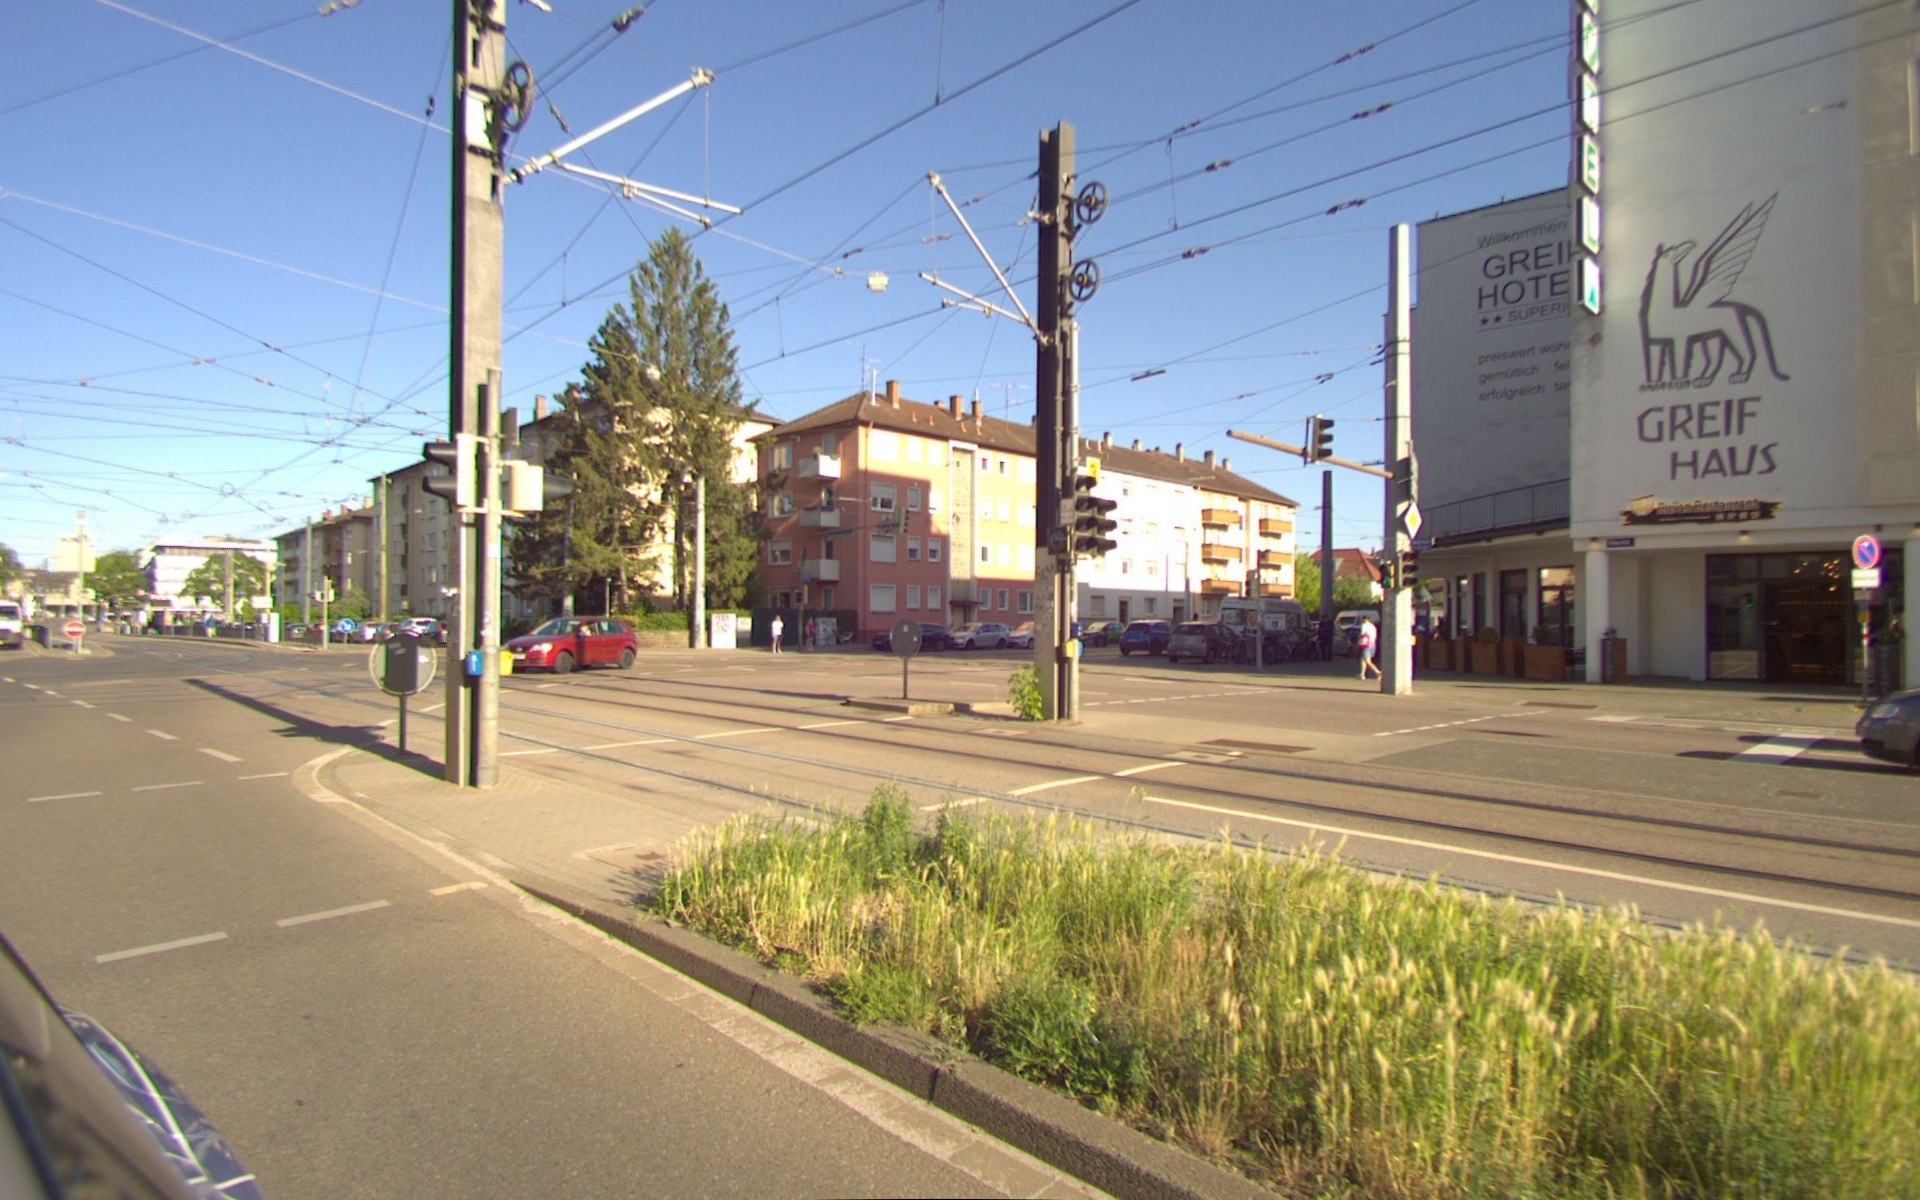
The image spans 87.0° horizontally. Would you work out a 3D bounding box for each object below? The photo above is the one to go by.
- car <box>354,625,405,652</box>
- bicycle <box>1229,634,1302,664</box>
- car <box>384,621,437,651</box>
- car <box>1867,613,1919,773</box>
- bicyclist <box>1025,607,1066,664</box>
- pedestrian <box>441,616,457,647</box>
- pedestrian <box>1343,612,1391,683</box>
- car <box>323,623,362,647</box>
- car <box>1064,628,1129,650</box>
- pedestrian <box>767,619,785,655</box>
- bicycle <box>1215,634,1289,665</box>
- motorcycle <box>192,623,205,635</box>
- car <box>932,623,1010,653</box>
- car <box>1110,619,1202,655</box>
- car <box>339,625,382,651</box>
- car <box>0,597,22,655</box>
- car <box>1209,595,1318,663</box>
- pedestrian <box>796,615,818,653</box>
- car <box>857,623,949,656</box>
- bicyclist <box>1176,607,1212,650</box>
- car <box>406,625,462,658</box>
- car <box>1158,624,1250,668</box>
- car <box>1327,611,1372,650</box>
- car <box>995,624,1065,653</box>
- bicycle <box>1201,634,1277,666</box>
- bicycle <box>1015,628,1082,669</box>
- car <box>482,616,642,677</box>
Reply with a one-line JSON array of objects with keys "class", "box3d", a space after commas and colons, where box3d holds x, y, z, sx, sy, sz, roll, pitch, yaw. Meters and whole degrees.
[{"class": "car", "box3d": [-37.589, 2.468, 65.475, 4.034, 1.489, 1.808, 2, 0, 44]}, {"class": "bicycle", "box3d": [10.574, 1.697, 35.055, 2.258, 1.009, 0.844, -3, -3, 42]}, {"class": "car", "box3d": [-33.467, 2.190, 61.572, 1.747, 1.610, 4.036, 2, 0, -44]}, {"class": "car", "box3d": [11.341, 0.936, 9.196, 1.907, 1.560, 4.458, 2, -2, -42]}, {"class": "bicyclist", "box3d": [2.634, 1.103, 31.213, 0.920, 1.704, 0.815, 2, 0, -39]}, {"class": "pedestrian", "box3d": [-32.073, 1.980, 63.497, 0.689, 1.900, 0.782, 2, 0, -42]}, {"class": "pedestrian", "box3d": [10.403, 1.204, 25.871, 0.910, 1.759, 0.726, 2, 0, 44]}, {"class": "car", "box3d": [-44.366, 2.516, 72.727, 1.537, 1.537, 3.648, 2, 0, -45]}, {"class": "car", "box3d": [8.569, 2.453, 63.378, 1.953, 1.248, 4.222, 2, 0, 42]}, {"class": "pedestrian", "box3d": [-8.272, 1.664, 45.494, 0.518, 1.580, 0.565, 1, -1, 44]}, {"class": "bicycle", "box3d": [9.862, 1.666, 34.204, 2.258, 1.009, 0.844, -3, -3, 42]}, {"class": "motorcycle", "box3d": [-75.956, 2.898, 100.878, 0.844, 1.054, 1.945, 2, 0, -42]}, {"class": "car", "box3d": [0.631, 2.052, 54.827, 1.911, 1.447, 4.042, 2, 0, 45]}, {"class": "car", "box3d": [8.319, 1.568, 42.958, 3.600, 1.463, 1.747, 2, -1, -31]}, {"class": "car", "box3d": [-41.203, 2.578, 69.572, 1.637, 1.569, 3.791, 2, 0, -45]}, {"class": "car", "box3d": [-45.335, 1.140, 47.104, 2.306, 2.536, 4.861, 2, 0, -42]}, {"class": "car", "box3d": [12.073, 1.142, 40.052, 2.272, 2.500, 4.938, 0, -1, 42]}, {"class": "pedestrian", "box3d": [-7.141, 1.579, 47.281, 0.777, 1.735, 0.701, 2, 0, 16]}, {"class": "car", "box3d": [-2.866, 2.029, 51.333, 2.161, 1.442, 4.378, 2, -2, 42]}, {"class": "bicyclist", "box3d": [9.301, 1.132, 40.218, 1.063, 1.685, 0.944, 2, 0, -44]}, {"class": "car", "box3d": [-30.018, 2.352, 57.723, 1.843, 1.640, 4.078, 2, 0, -42]}, {"class": "car", "box3d": [8.812, 1.624, 36.346, 1.662, 1.442, 3.836, 2, 0, 40]}, {"class": "car", "box3d": [33.248, 2.626, 86.324, 2.427, 3.166, 3.438, 2, 0, 44]}, {"class": "car", "box3d": [4.081, 2.182, 58.318, 1.748, 1.537, 4.169, 2, 0, 43]}, {"class": "bicycle", "box3d": [9.127, 1.647, 33.128, 2.258, 1.009, 0.844, -3, -3, 42]}, {"class": "bicycle", "box3d": [2.758, 1.498, 31.304, 2.031, 1.190, 0.815, 2, 0, -39]}, {"class": "car", "box3d": [-10.400, 1.197, 26.735, 1.773, 1.497, 3.798, -1, -2, 23]}]
